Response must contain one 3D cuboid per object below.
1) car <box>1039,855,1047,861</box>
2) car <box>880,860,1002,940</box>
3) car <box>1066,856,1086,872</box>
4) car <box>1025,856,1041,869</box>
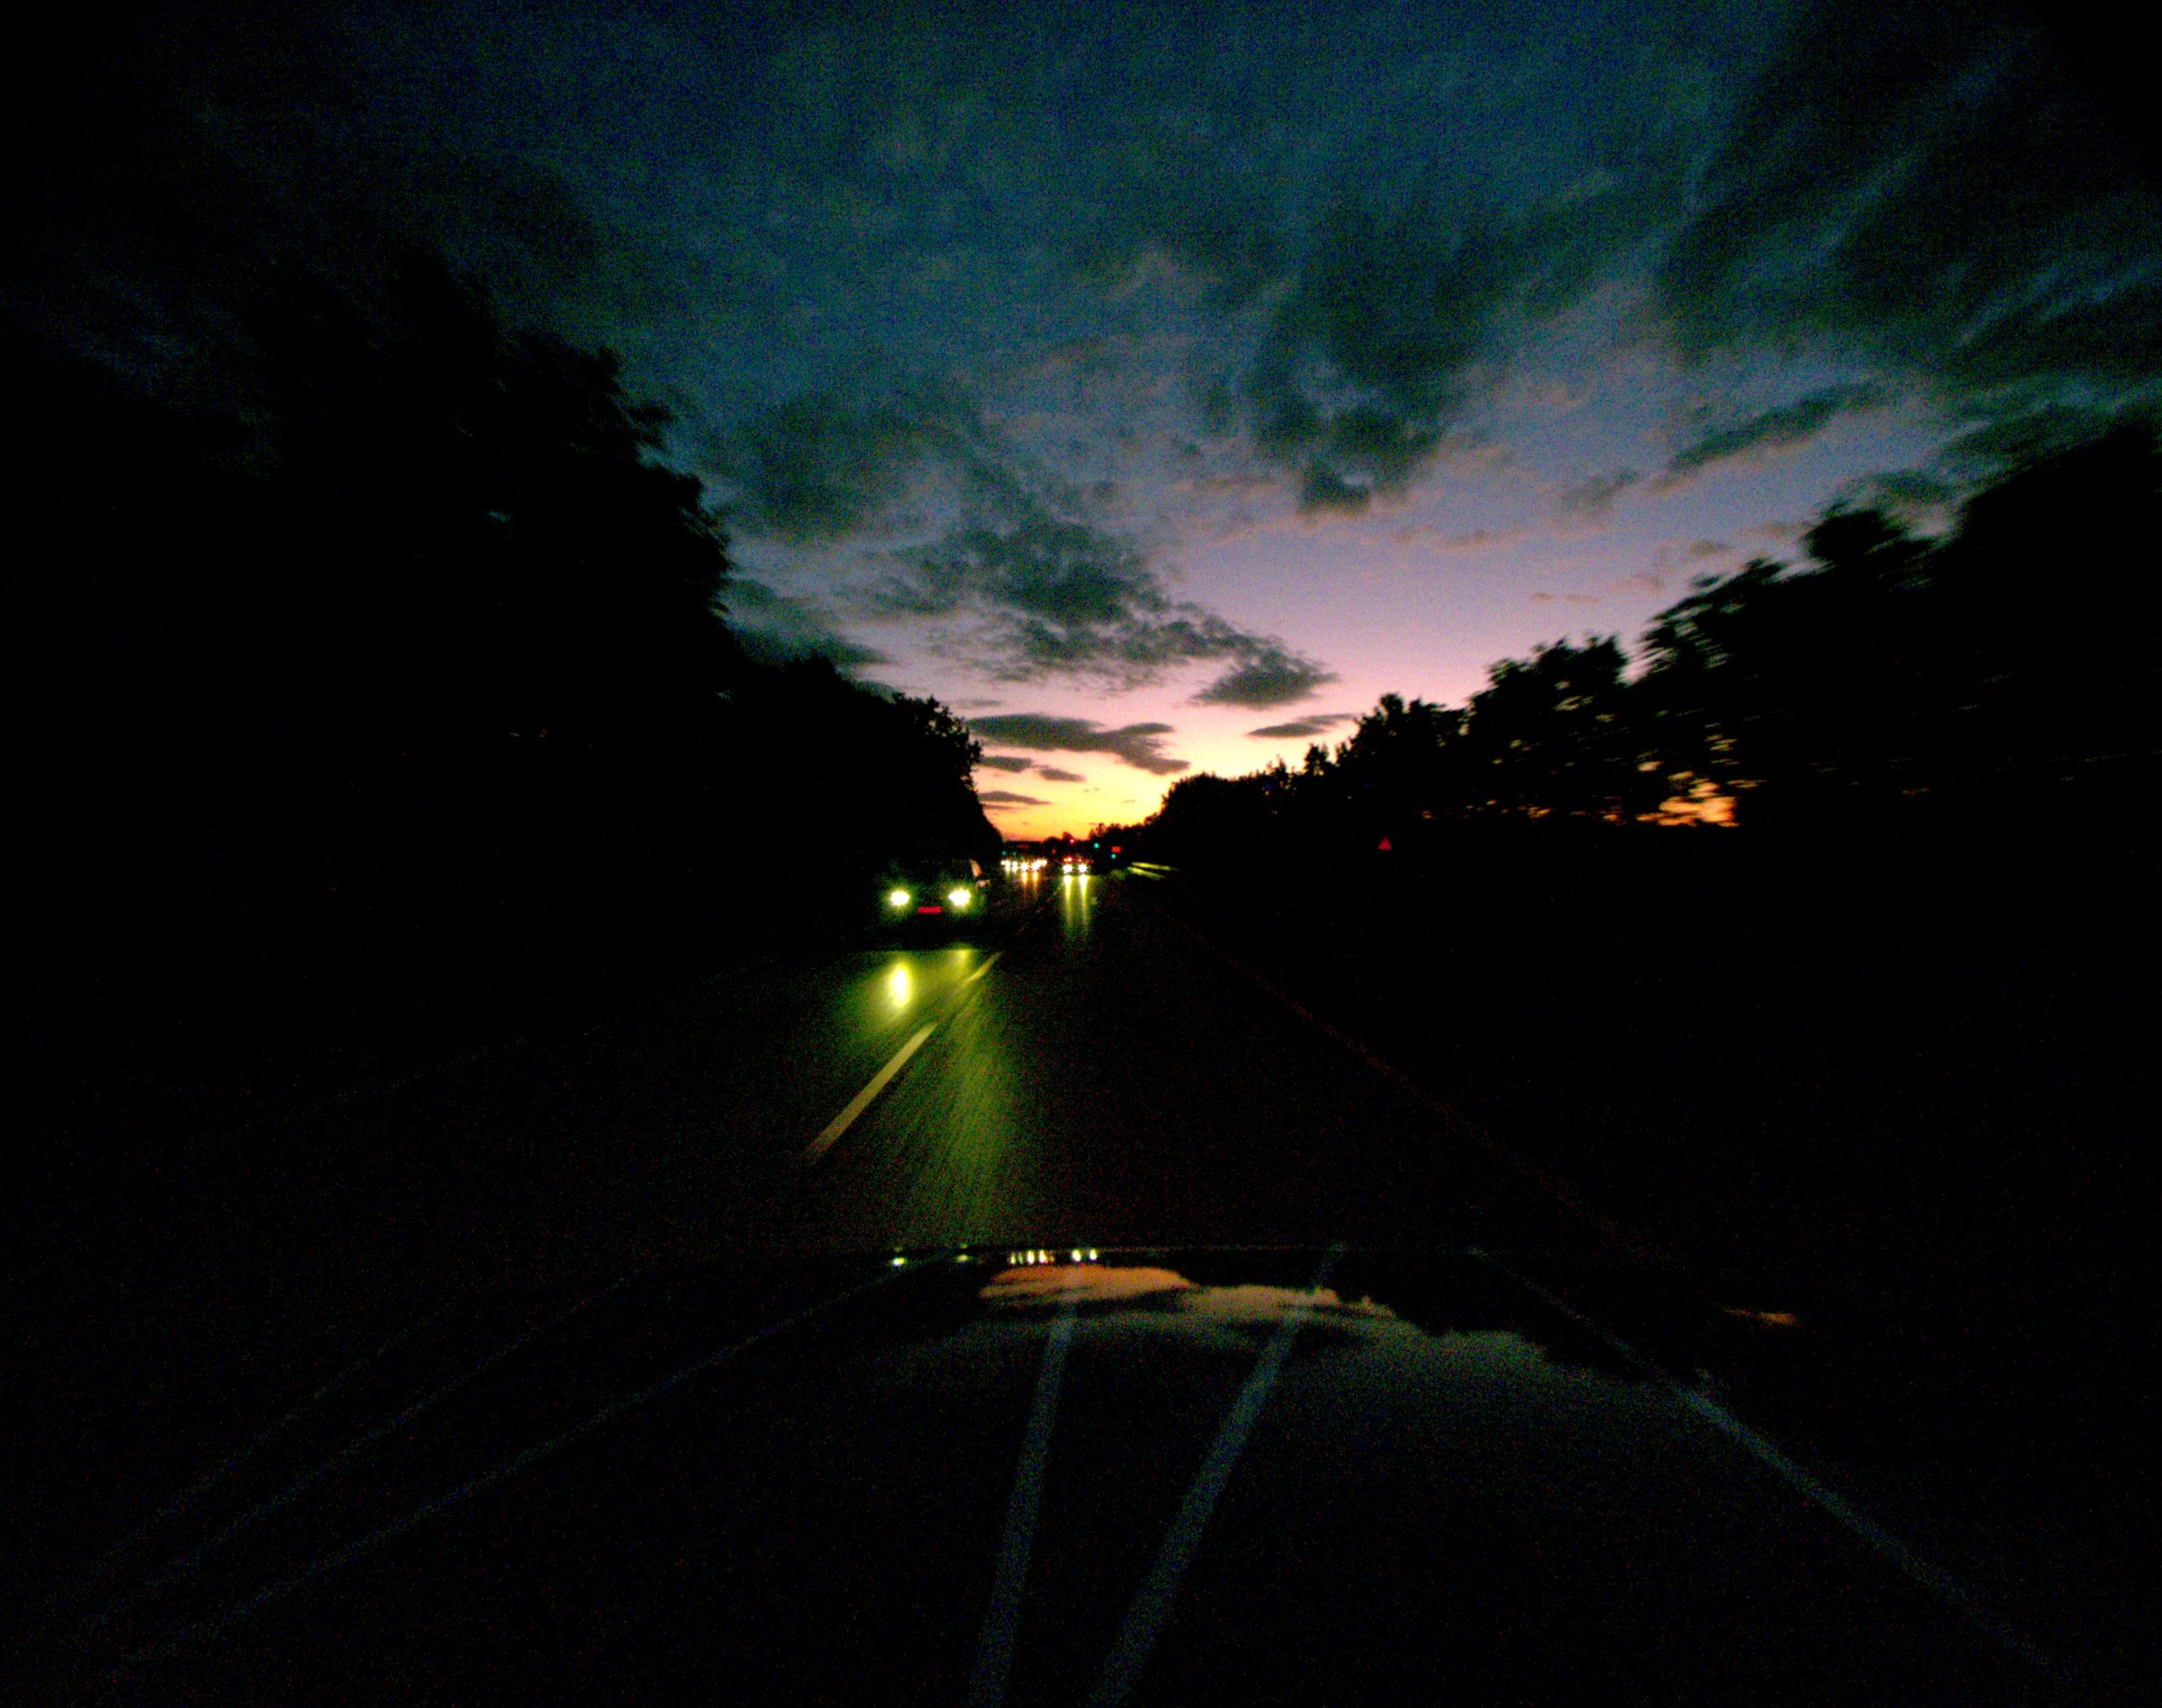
[{"bbox_3d":[-10.288,1.085,206.434,1.999,1.602,4.501,-1,0,-2],"label":"car"},{"bbox_3d":[-3.165,0.977,18.225,1.998,1.600,4.711,-1,0,0],"label":"car"},{"bbox_3d":[-0.501,0.947,75.023,1.901,1.472,4.514,-1,0,-1],"label":"car"},{"bbox_3d":[-6.020,1.061,95.784,1.624,1.460,3.871,-2,0,0],"label":"car"}]
